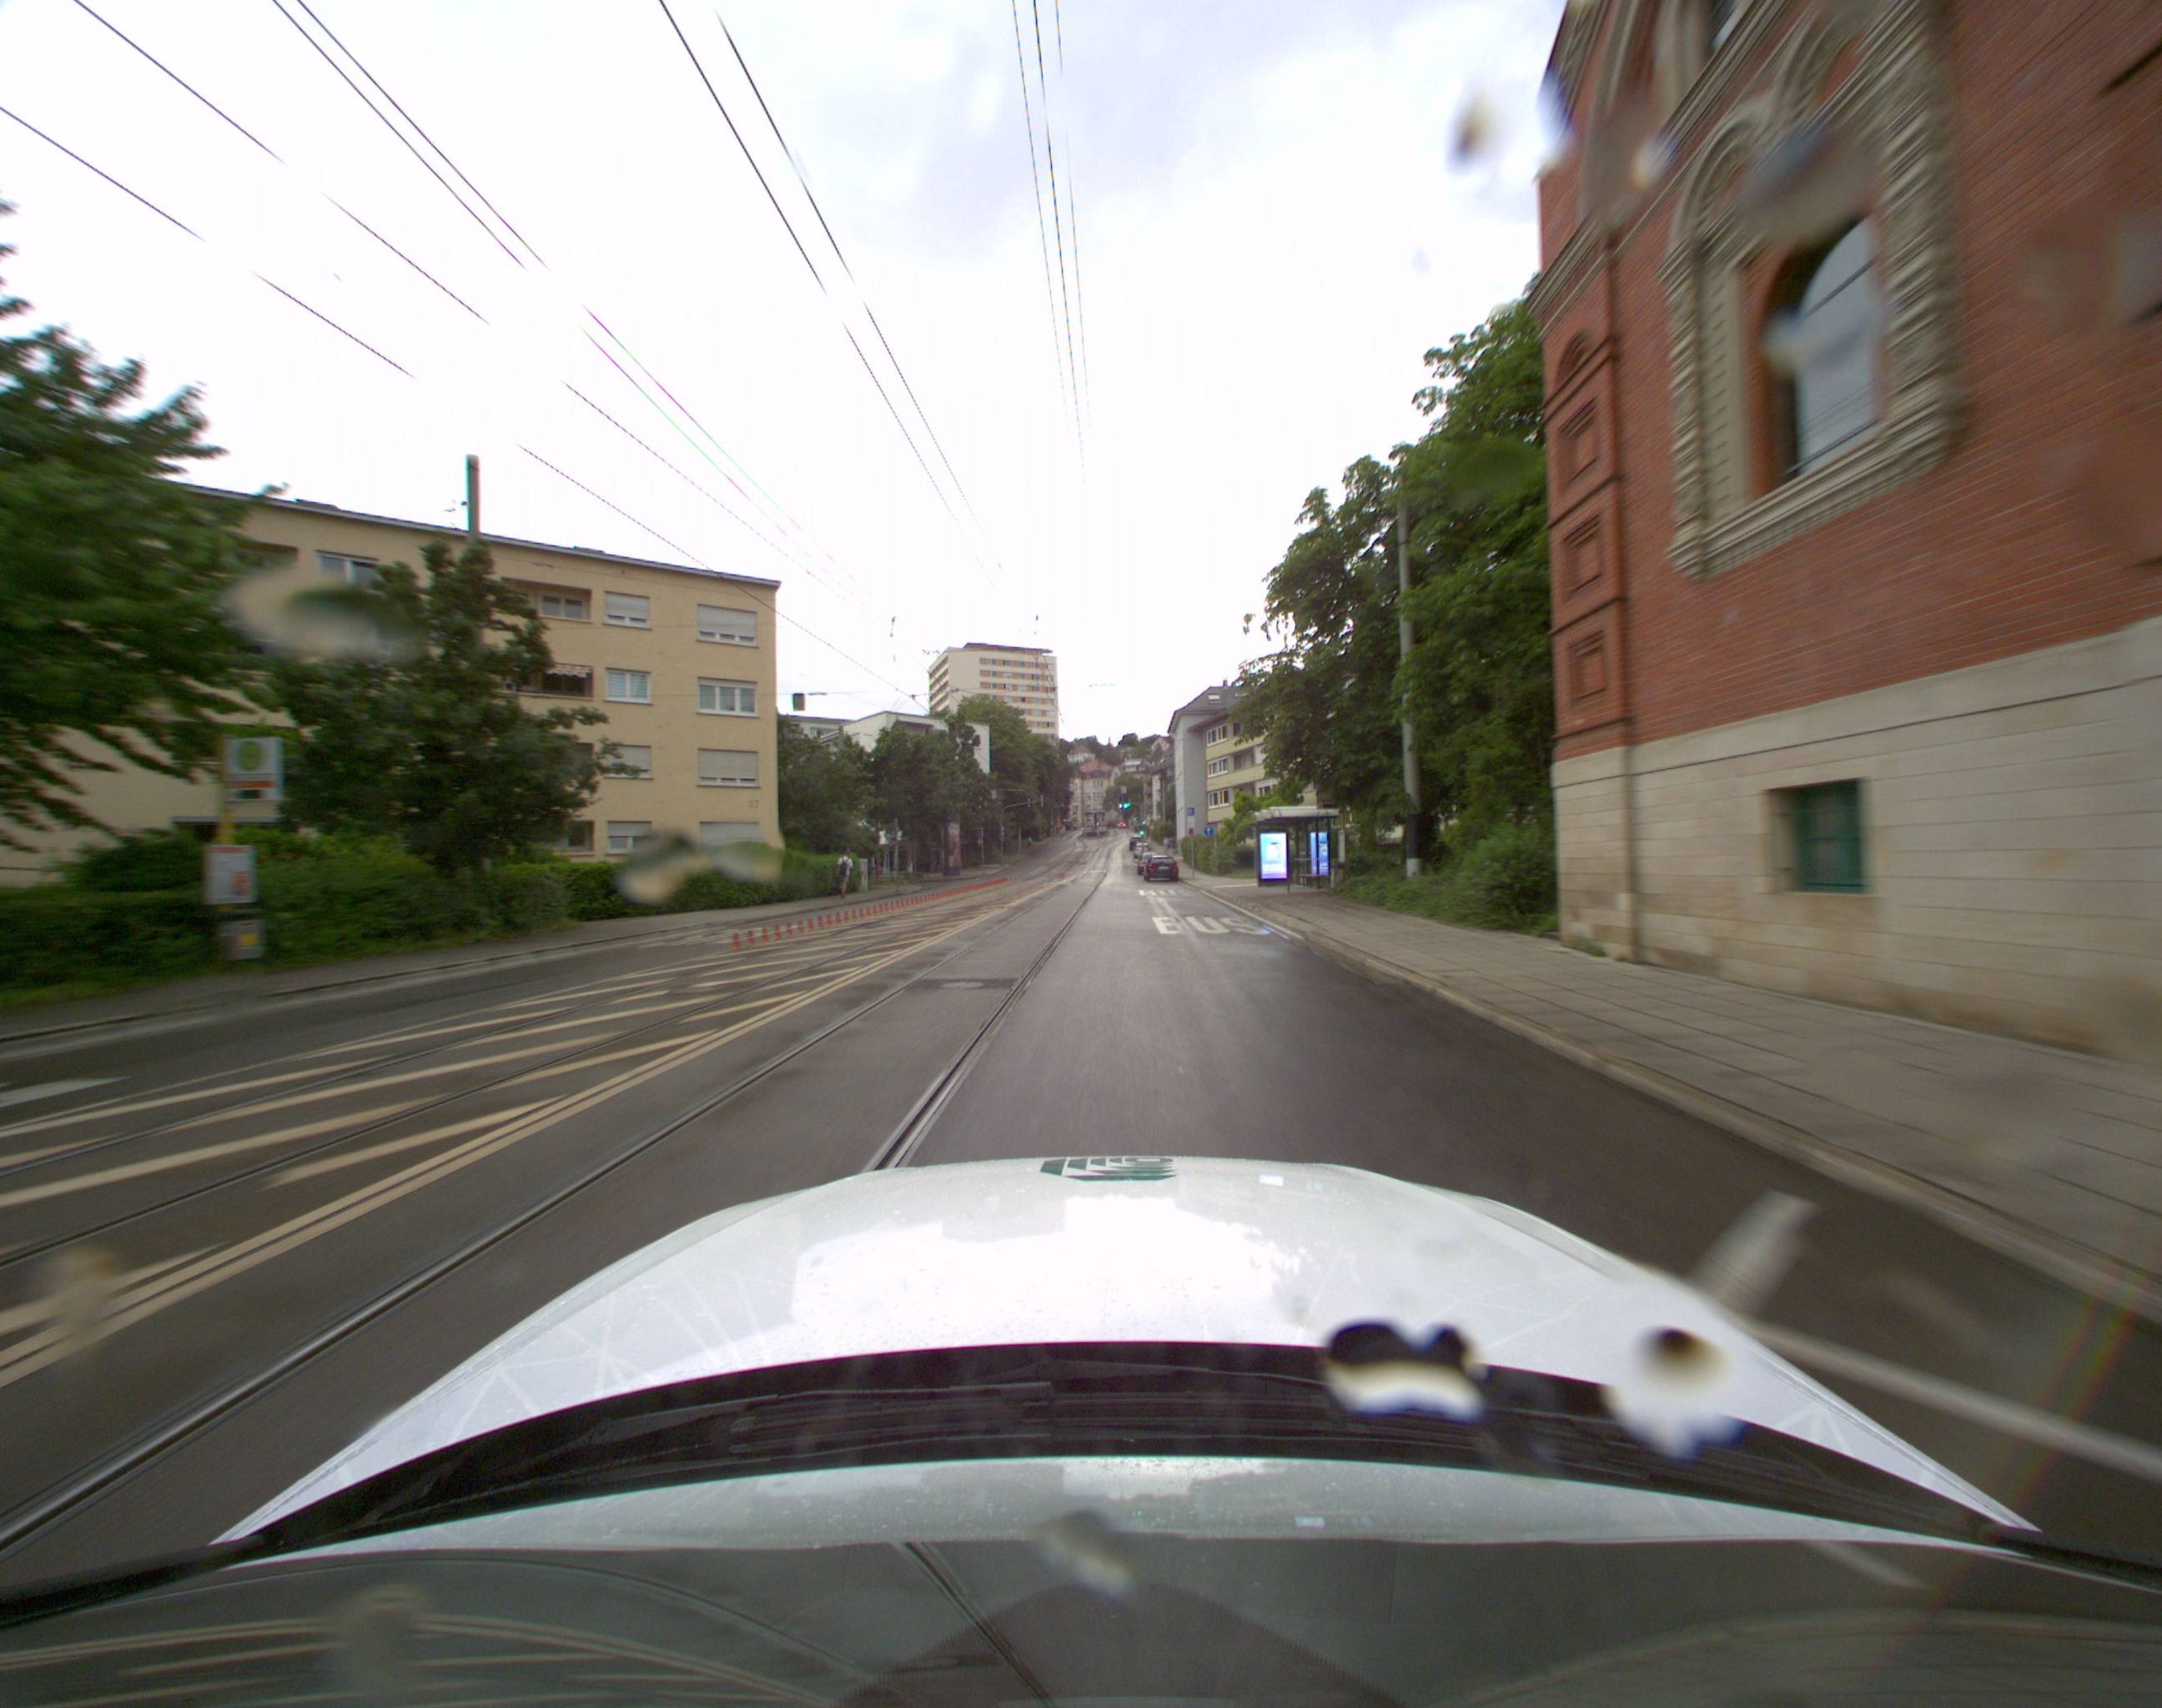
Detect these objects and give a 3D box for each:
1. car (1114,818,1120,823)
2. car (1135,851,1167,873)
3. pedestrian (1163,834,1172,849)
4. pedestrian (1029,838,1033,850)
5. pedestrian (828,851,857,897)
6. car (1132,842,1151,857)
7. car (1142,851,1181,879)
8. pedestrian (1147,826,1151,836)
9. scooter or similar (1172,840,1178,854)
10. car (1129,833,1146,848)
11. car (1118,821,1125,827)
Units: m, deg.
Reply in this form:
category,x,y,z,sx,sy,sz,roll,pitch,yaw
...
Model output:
category,x,y,z,sx,sy,sz,roll,pitch,yaw
car,11.095,-10.292,252.261,1.899,1.641,4.693,0,3,2
car,4.880,0.551,57.263,1.933,1.464,4.207,-1,0,1
pedestrian,9.647,-1.353,90.944,0.878,1.582,0.803,-3,4,4
pedestrian,-6.850,-1.379,111.253,0.581,1.600,0.869,1,2,-1
pedestrian,-9.729,0.818,33.217,0.916,1.846,1.016,0,-1,-3
car,6.092,-0.479,82.400,1.698,1.433,4.104,0,3,2
car,4.492,0.568,45.922,1.851,1.487,4.646,-1,0,1
pedestrian,11.071,-3.728,132.240,0.642,1.628,0.699,-1,1,1
scooter or similar,9.568,-0.726,82.865,0.571,1.249,1.614,-1,5,8
car,6.761,-1.648,98.594,1.899,1.641,4.693,0,3,2
car,10.939,-8.096,219.685,1.899,1.641,4.693,0,3,2
